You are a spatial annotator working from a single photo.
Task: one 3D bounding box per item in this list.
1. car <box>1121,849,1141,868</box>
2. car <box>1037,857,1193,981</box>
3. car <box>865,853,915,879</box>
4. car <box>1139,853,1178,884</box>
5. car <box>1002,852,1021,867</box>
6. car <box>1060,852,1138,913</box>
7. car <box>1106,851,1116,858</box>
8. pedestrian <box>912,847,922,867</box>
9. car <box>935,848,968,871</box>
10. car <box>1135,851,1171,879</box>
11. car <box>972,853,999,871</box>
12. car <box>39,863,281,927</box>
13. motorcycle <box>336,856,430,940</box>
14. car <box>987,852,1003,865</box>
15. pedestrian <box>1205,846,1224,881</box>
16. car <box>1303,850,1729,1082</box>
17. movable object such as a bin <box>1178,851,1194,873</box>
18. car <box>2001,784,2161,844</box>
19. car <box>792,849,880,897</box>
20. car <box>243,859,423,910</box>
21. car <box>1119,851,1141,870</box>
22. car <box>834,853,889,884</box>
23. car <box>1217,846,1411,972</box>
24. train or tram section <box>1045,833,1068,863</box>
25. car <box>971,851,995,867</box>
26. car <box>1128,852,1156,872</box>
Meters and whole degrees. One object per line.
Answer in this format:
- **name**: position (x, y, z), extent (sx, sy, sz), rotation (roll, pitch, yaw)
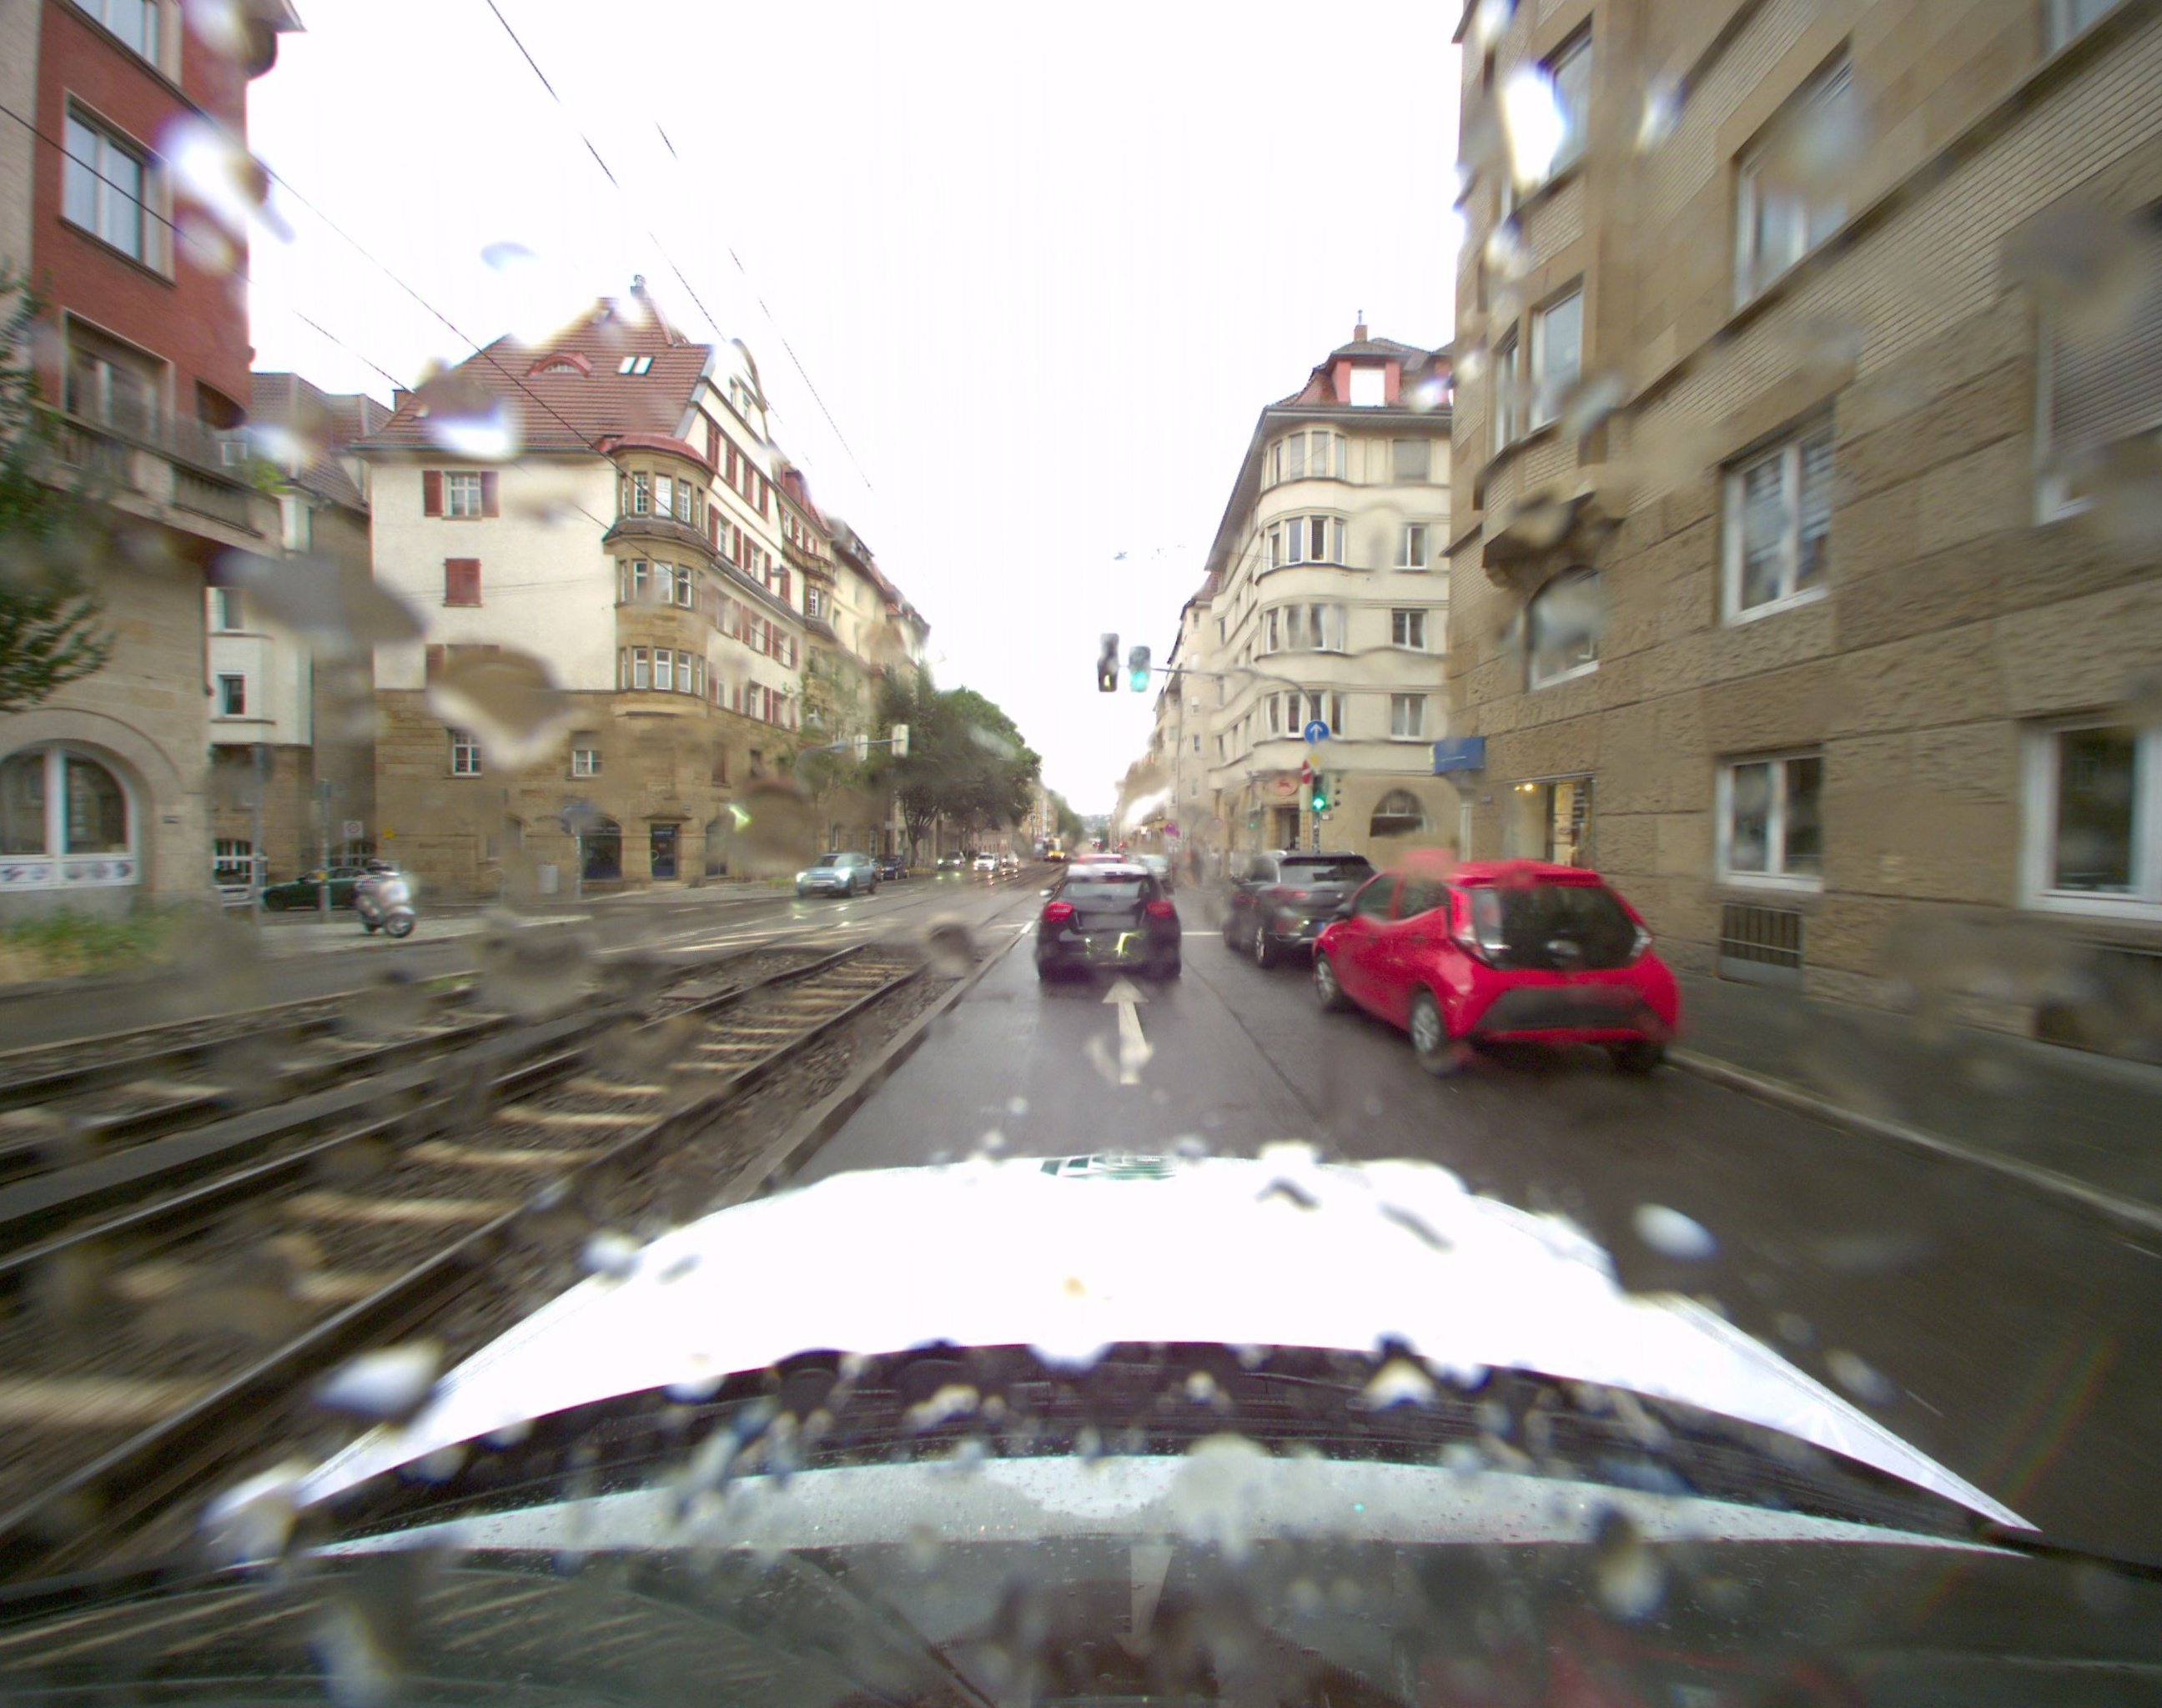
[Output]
- **car**: position (4.737, 0.466, 77.068), extent (1.771, 1.750, 4.551), rotation (-1, -1, 2)
- **car**: position (0.457, 0.768, 11.514), extent (1.828, 1.453, 3.903), rotation (0, 0, 2)
- **car**: position (-11.167, 0.692, 47.961), extent (1.775, 1.460, 4.977), rotation (-1, -1, 0)
- **car**: position (3.754, 0.695, 39.985), extent (1.703, 1.410, 4.821), rotation (-1, -1, 3)
- **car**: position (-7.446, 0.569, 87.515), extent (1.648, 1.462, 3.734), rotation (-1, 0, 0)
- **car**: position (0.526, 0.735, 22.946), extent (1.986, 1.525, 4.247), rotation (0, 0, 2)
- **car**: position (6.313, 0.144, 169.946), extent (1.879, 1.525, 4.249), rotation (0, 0, 3)
- **pedestrian**: position (-14.043, 0.266, 69.721), extent (0.726, 1.663, 0.771), rotation (0, 0, 1)
- **car**: position (-10.889, 0.428, 68.713), extent (1.947, 1.742, 4.778), rotation (3, 0, 0)
- **car**: position (3.946, 0.593, 45.354), extent (1.705, 1.468, 4.775), rotation (-1, -1, 2)
- **car**: position (-7.928, 0.671, 68.064), extent (1.775, 1.503, 4.062), rotation (-1, -1, 0)
- **car**: position (-22.593, 0.969, 20.088), extent (3.972, 1.467, 1.747), rotation (-1, -1, 1)
- **motorcycle**: position (-12.143, 0.730, 14.154), extent (1.761, 1.375, 0.772), rotation (-1, -1, 33)
- **car**: position (-10.028, 0.512, 95.008), extent (1.567, 1.466, 3.044), rotation (1, 0, 0)
- **pedestrian**: position (6.485, 0.456, 39.546), extent (0.801, 1.687, 0.754), rotation (-1, -1, 1)
- **car**: position (3.228, 0.712, 6.892), extent (1.700, 1.453, 3.531), rotation (1, 0, -1)
- **movable object such as a bin**: position (7.230, 0.536, 56.147), extent (0.976, 1.468, 1.273), rotation (-1, -1, 1)
- **car**: position (32.724, -1.305, 26.007), extent (4.344, 1.569, 1.978), rotation (-4, -3, -1)
- **car**: position (-8.812, 0.675, 29.665), extent (1.915, 1.617, 4.128), rotation (-1, -1, 0)
- **car**: position (-24.591, 0.967, 26.907), extent (3.977, 1.574, 1.998), rotation (-1, -1, -2)
- **car**: position (4.310, 0.564, 71.012), extent (1.833, 1.608, 4.765), rotation (-1, -1, 4)
- **car**: position (-11.357, 0.752, 42.405), extent (1.684, 1.529, 4.175), rotation (-1, -1, 0)
- **car**: position (3.231, 0.690, 12.137), extent (1.860, 1.549, 3.992), rotation (0, 0, 2)
- **train or tram section**: position (-3.555, -0.859, 122.548), extent (2.736, 4.061, 17.216), rotation (-1, 0, 1)
- **car**: position (-10.346, 0.512, 86.187), extent (1.954, 1.605, 4.329), rotation (1, 0, 0)
- **car**: position (4.303, 0.590, 58.344), extent (1.783, 1.385, 4.396), rotation (-1, -1, 1)
